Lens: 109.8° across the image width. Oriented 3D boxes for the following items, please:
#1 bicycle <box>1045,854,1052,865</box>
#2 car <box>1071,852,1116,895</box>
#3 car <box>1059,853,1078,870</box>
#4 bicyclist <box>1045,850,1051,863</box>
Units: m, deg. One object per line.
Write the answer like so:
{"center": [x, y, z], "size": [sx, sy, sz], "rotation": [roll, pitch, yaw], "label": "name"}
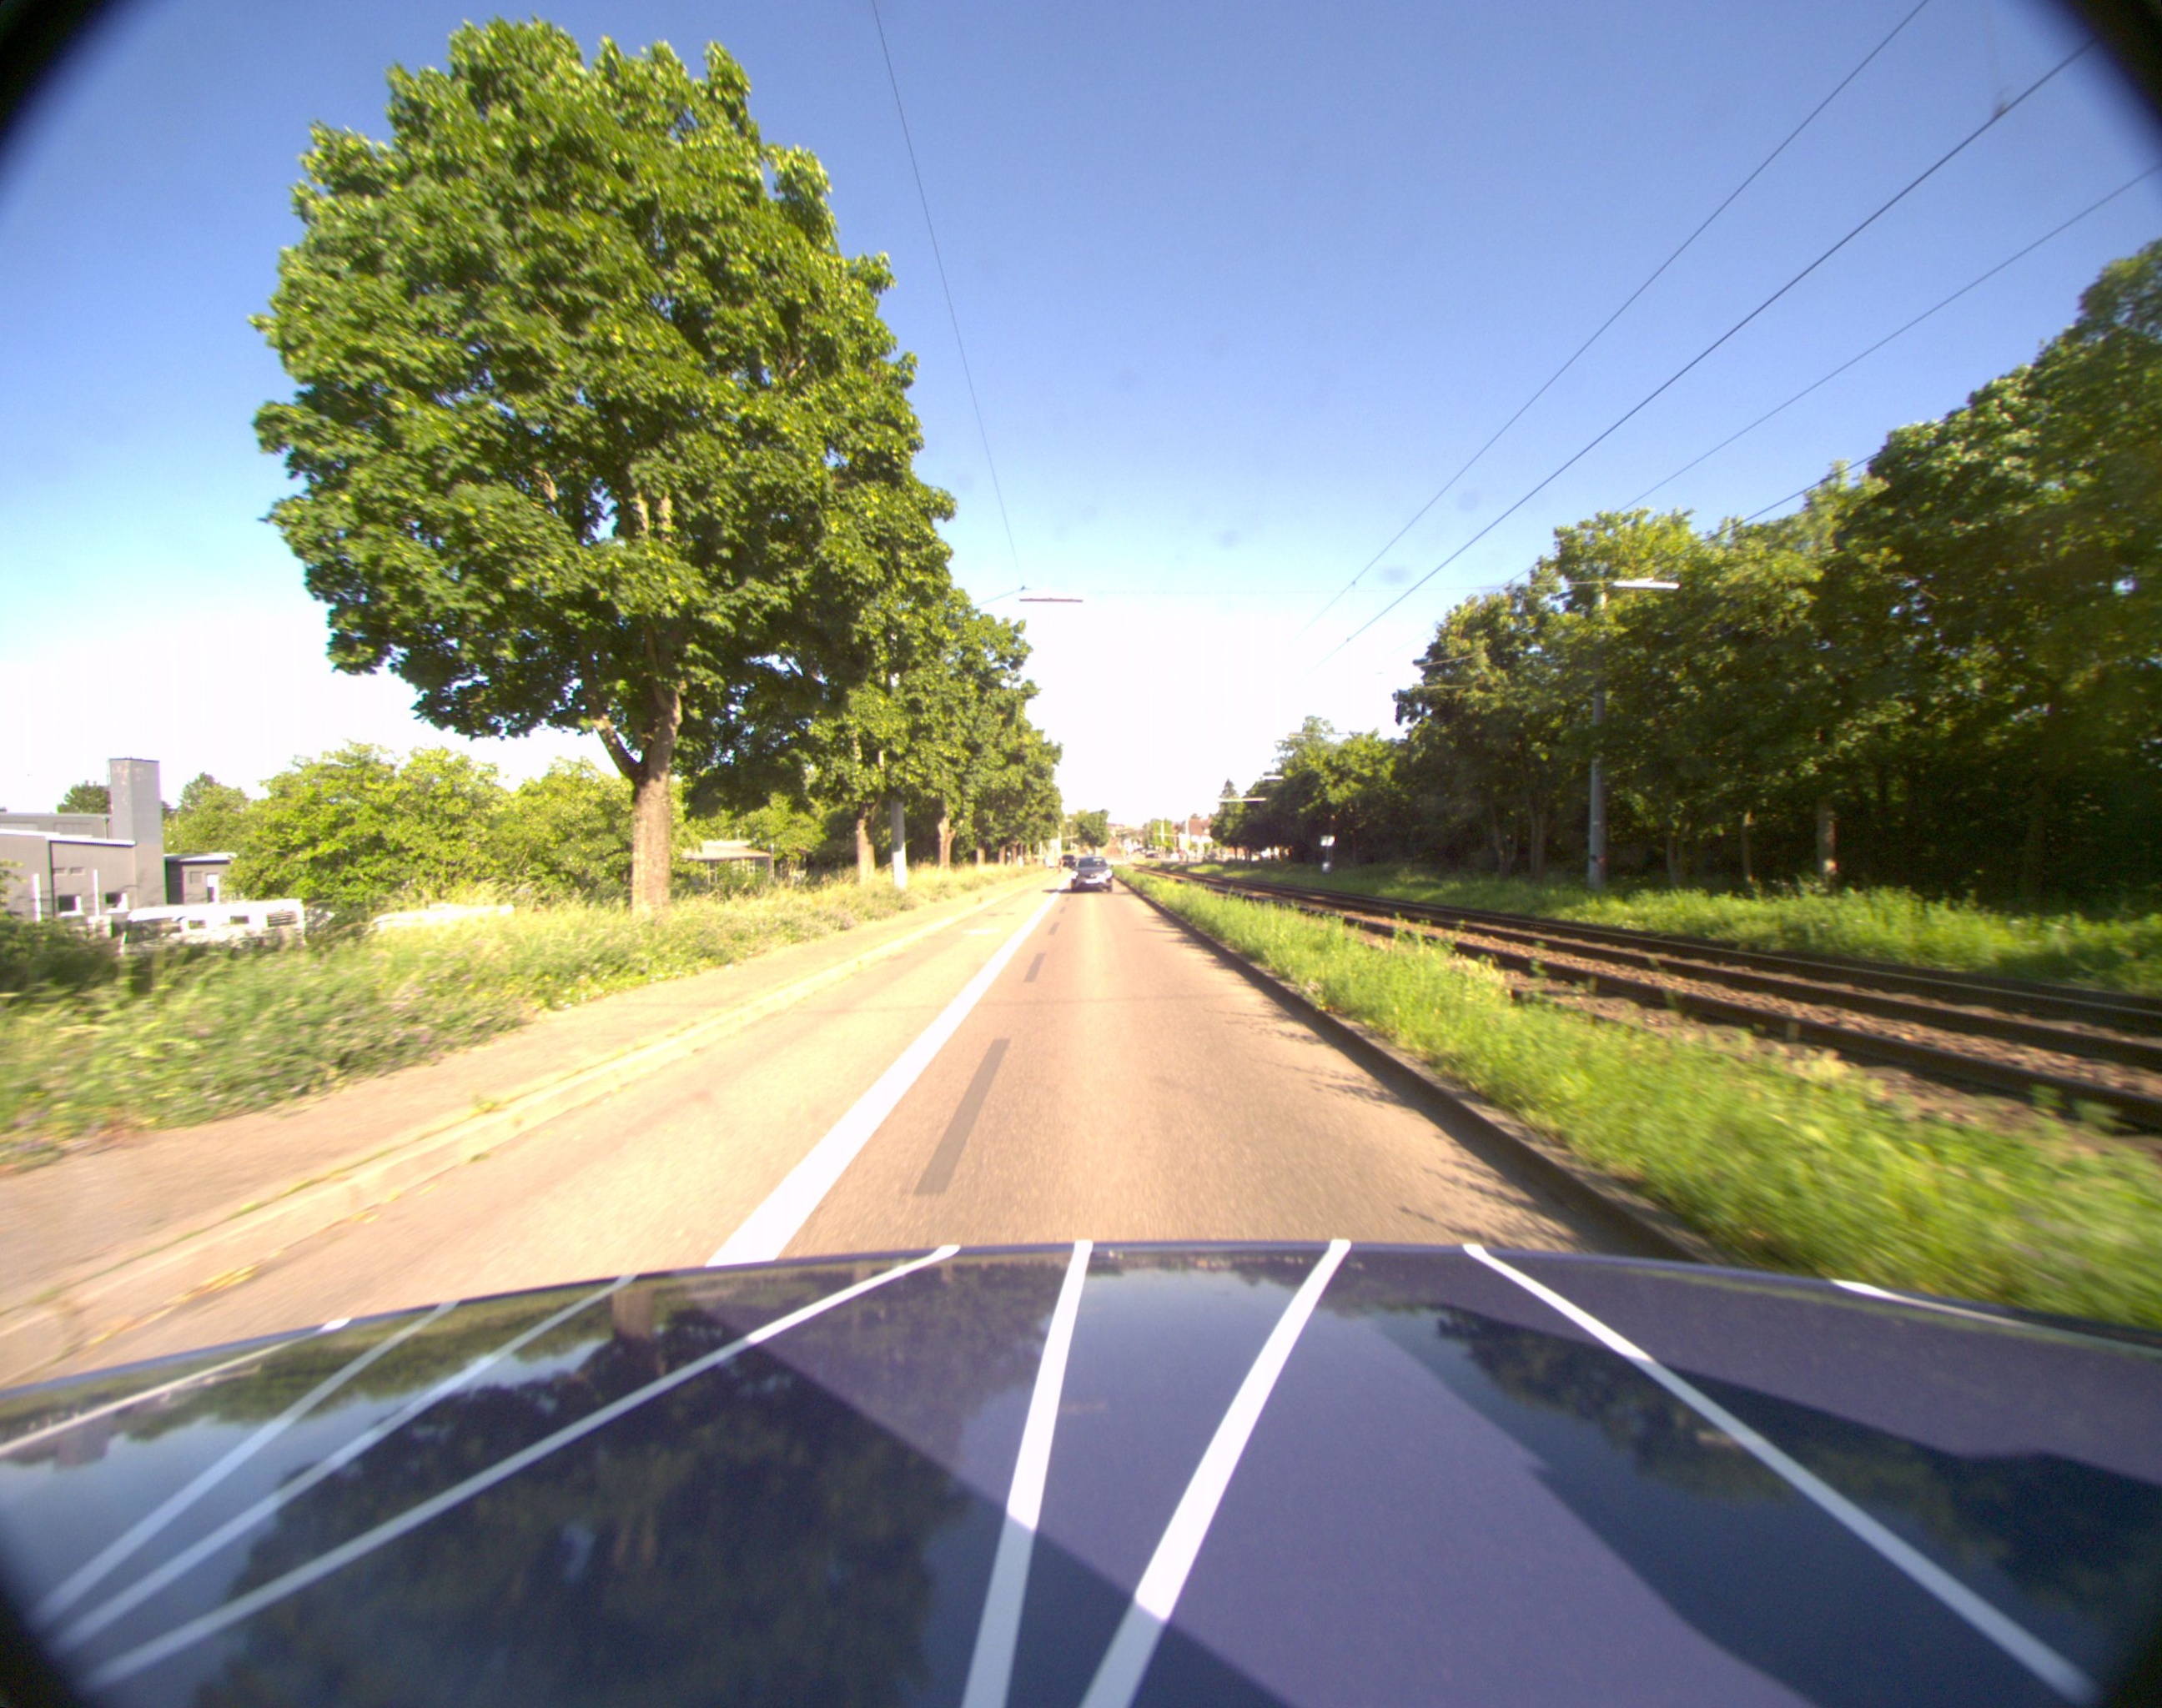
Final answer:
{"center": [-4.132, 0.669, 96.998], "size": [0.647, 1.344, 2.240], "rotation": [-3, 1, 1], "label": "bicycle"}
{"center": [0.555, 0.770, 33.075], "size": [1.814, 1.625, 4.709], "rotation": [-1, 1, 1], "label": "car"}
{"center": [-1.255, 0.718, 79.228], "size": [1.814, 1.625, 4.128], "rotation": [-3, 1, 1], "label": "car"}
{"center": [-4.159, 0.281, 97.061], "size": [0.655, 1.575, 0.698], "rotation": [-3, 1, 1], "label": "bicyclist"}
